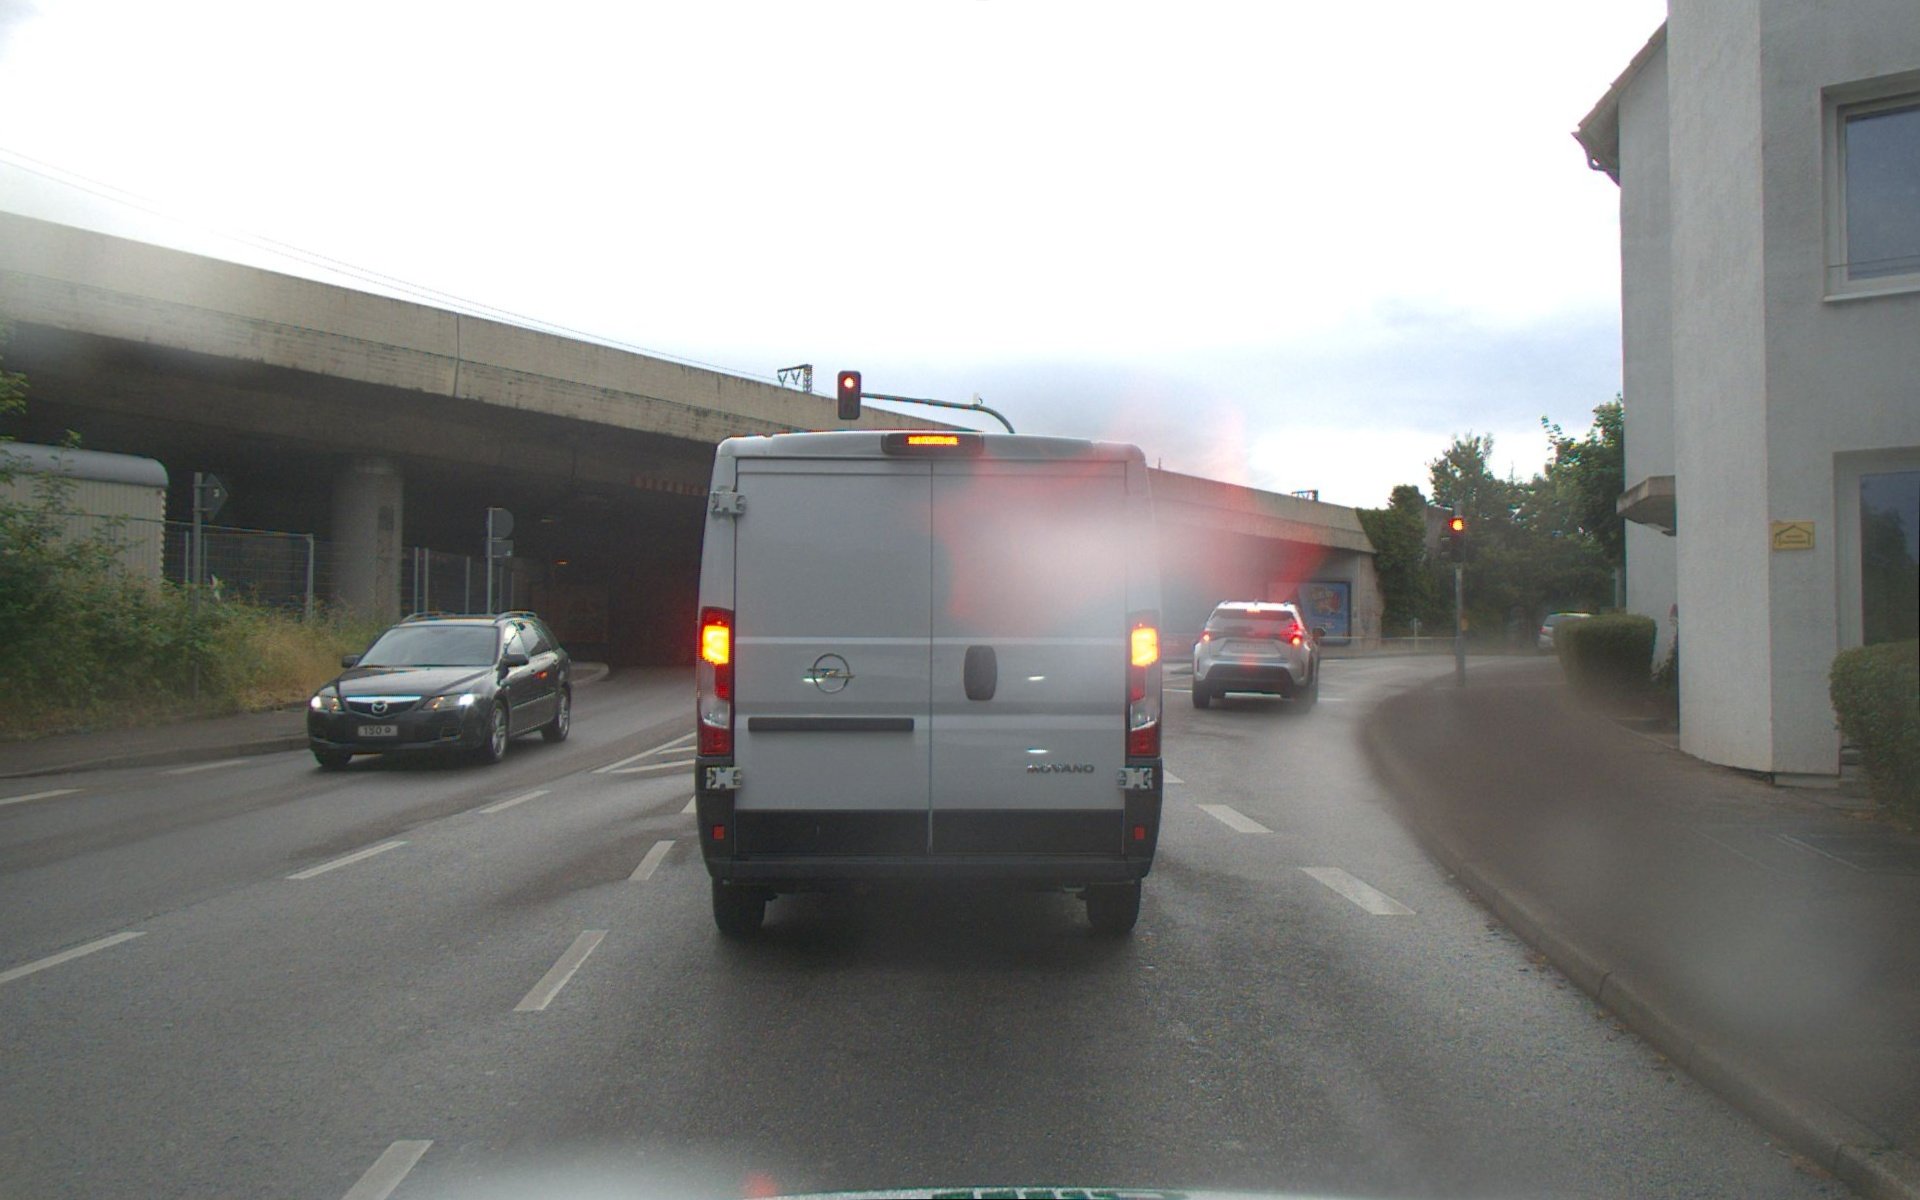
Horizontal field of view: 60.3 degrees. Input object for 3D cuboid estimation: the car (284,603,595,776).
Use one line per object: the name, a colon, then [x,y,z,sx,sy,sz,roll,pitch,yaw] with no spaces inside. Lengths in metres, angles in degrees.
car: [-5.290,0.843,17.470,1.804,1.597,4.413,0,0,1]

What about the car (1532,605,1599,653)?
car: [20.903,1.014,56.996,1.953,1.581,3.998,0,-2,23]

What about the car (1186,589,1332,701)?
car: [4.683,0.686,25.486,1.951,1.576,4.003,0,-2,14]

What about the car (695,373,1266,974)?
car: [0.061,0.290,9.326,2.258,2.384,5.281,1,0,-1]

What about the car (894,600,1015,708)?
car: [-0.030,0.935,29.018,1.952,1.759,4.000,0,-2,2]

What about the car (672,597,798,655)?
car: [-6.407,0.757,46.814,1.977,1.545,3.950,1,-2,-35]
